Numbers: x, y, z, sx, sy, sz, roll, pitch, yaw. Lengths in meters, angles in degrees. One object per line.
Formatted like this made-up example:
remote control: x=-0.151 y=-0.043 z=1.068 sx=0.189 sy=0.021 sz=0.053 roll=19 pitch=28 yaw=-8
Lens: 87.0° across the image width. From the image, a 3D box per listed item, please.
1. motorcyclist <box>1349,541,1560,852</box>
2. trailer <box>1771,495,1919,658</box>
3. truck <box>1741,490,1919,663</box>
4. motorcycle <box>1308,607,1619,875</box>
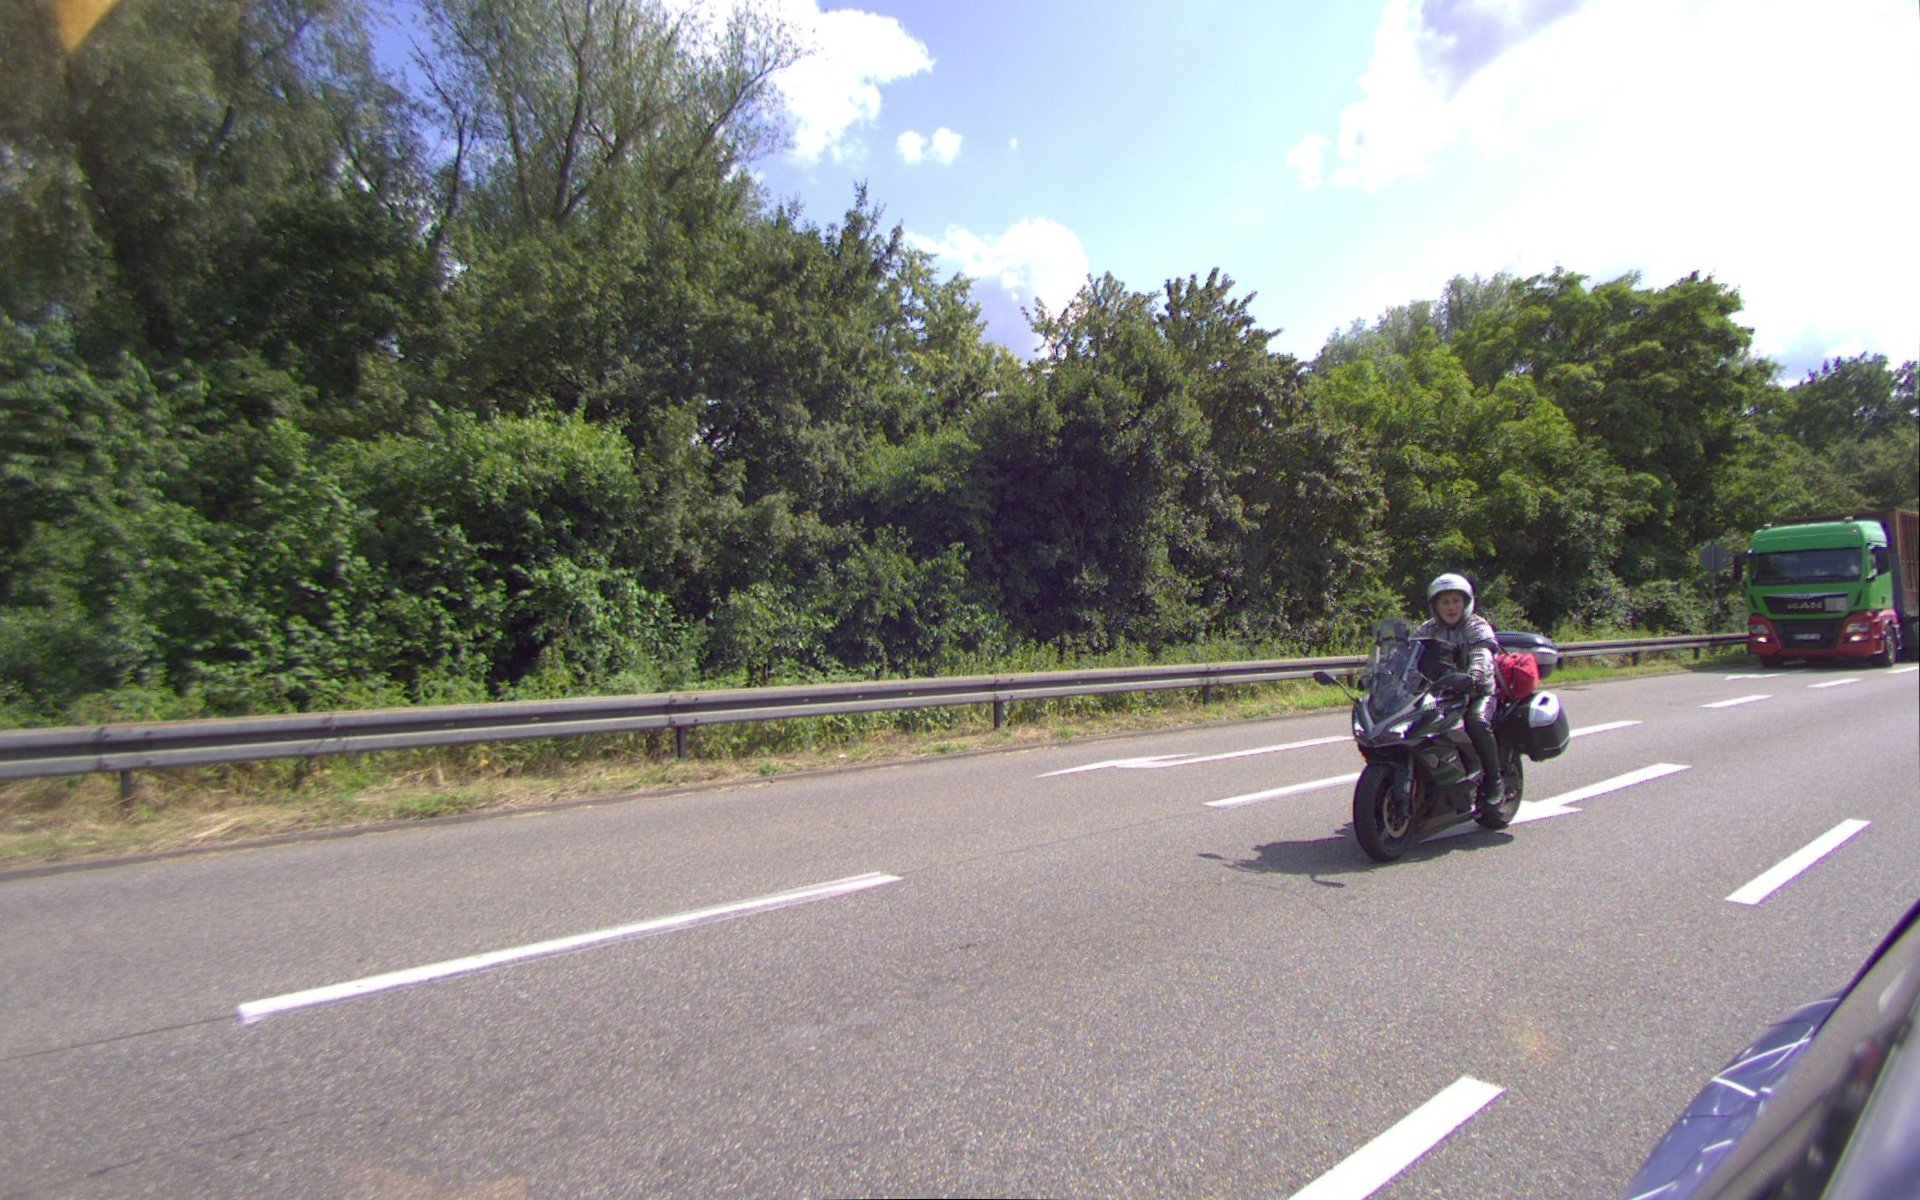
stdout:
motorcyclist: x=3.039 y=0.540 z=6.242 sx=0.878 sy=1.722 sz=0.867 roll=1 pitch=-2 yaw=-39
trailer: x=27.911 y=-0.525 z=29.582 sx=14.226 sy=3.944 sz=2.592 roll=0 pitch=-3 yaw=-35
truck: x=22.720 y=-0.491 z=25.863 sx=5.946 sy=3.945 sz=2.592 roll=0 pitch=-3 yaw=-35
motorcycle: x=3.245 y=0.751 z=6.405 sx=2.327 sy=1.407 sz=0.867 roll=1 pitch=-1 yaw=-39
